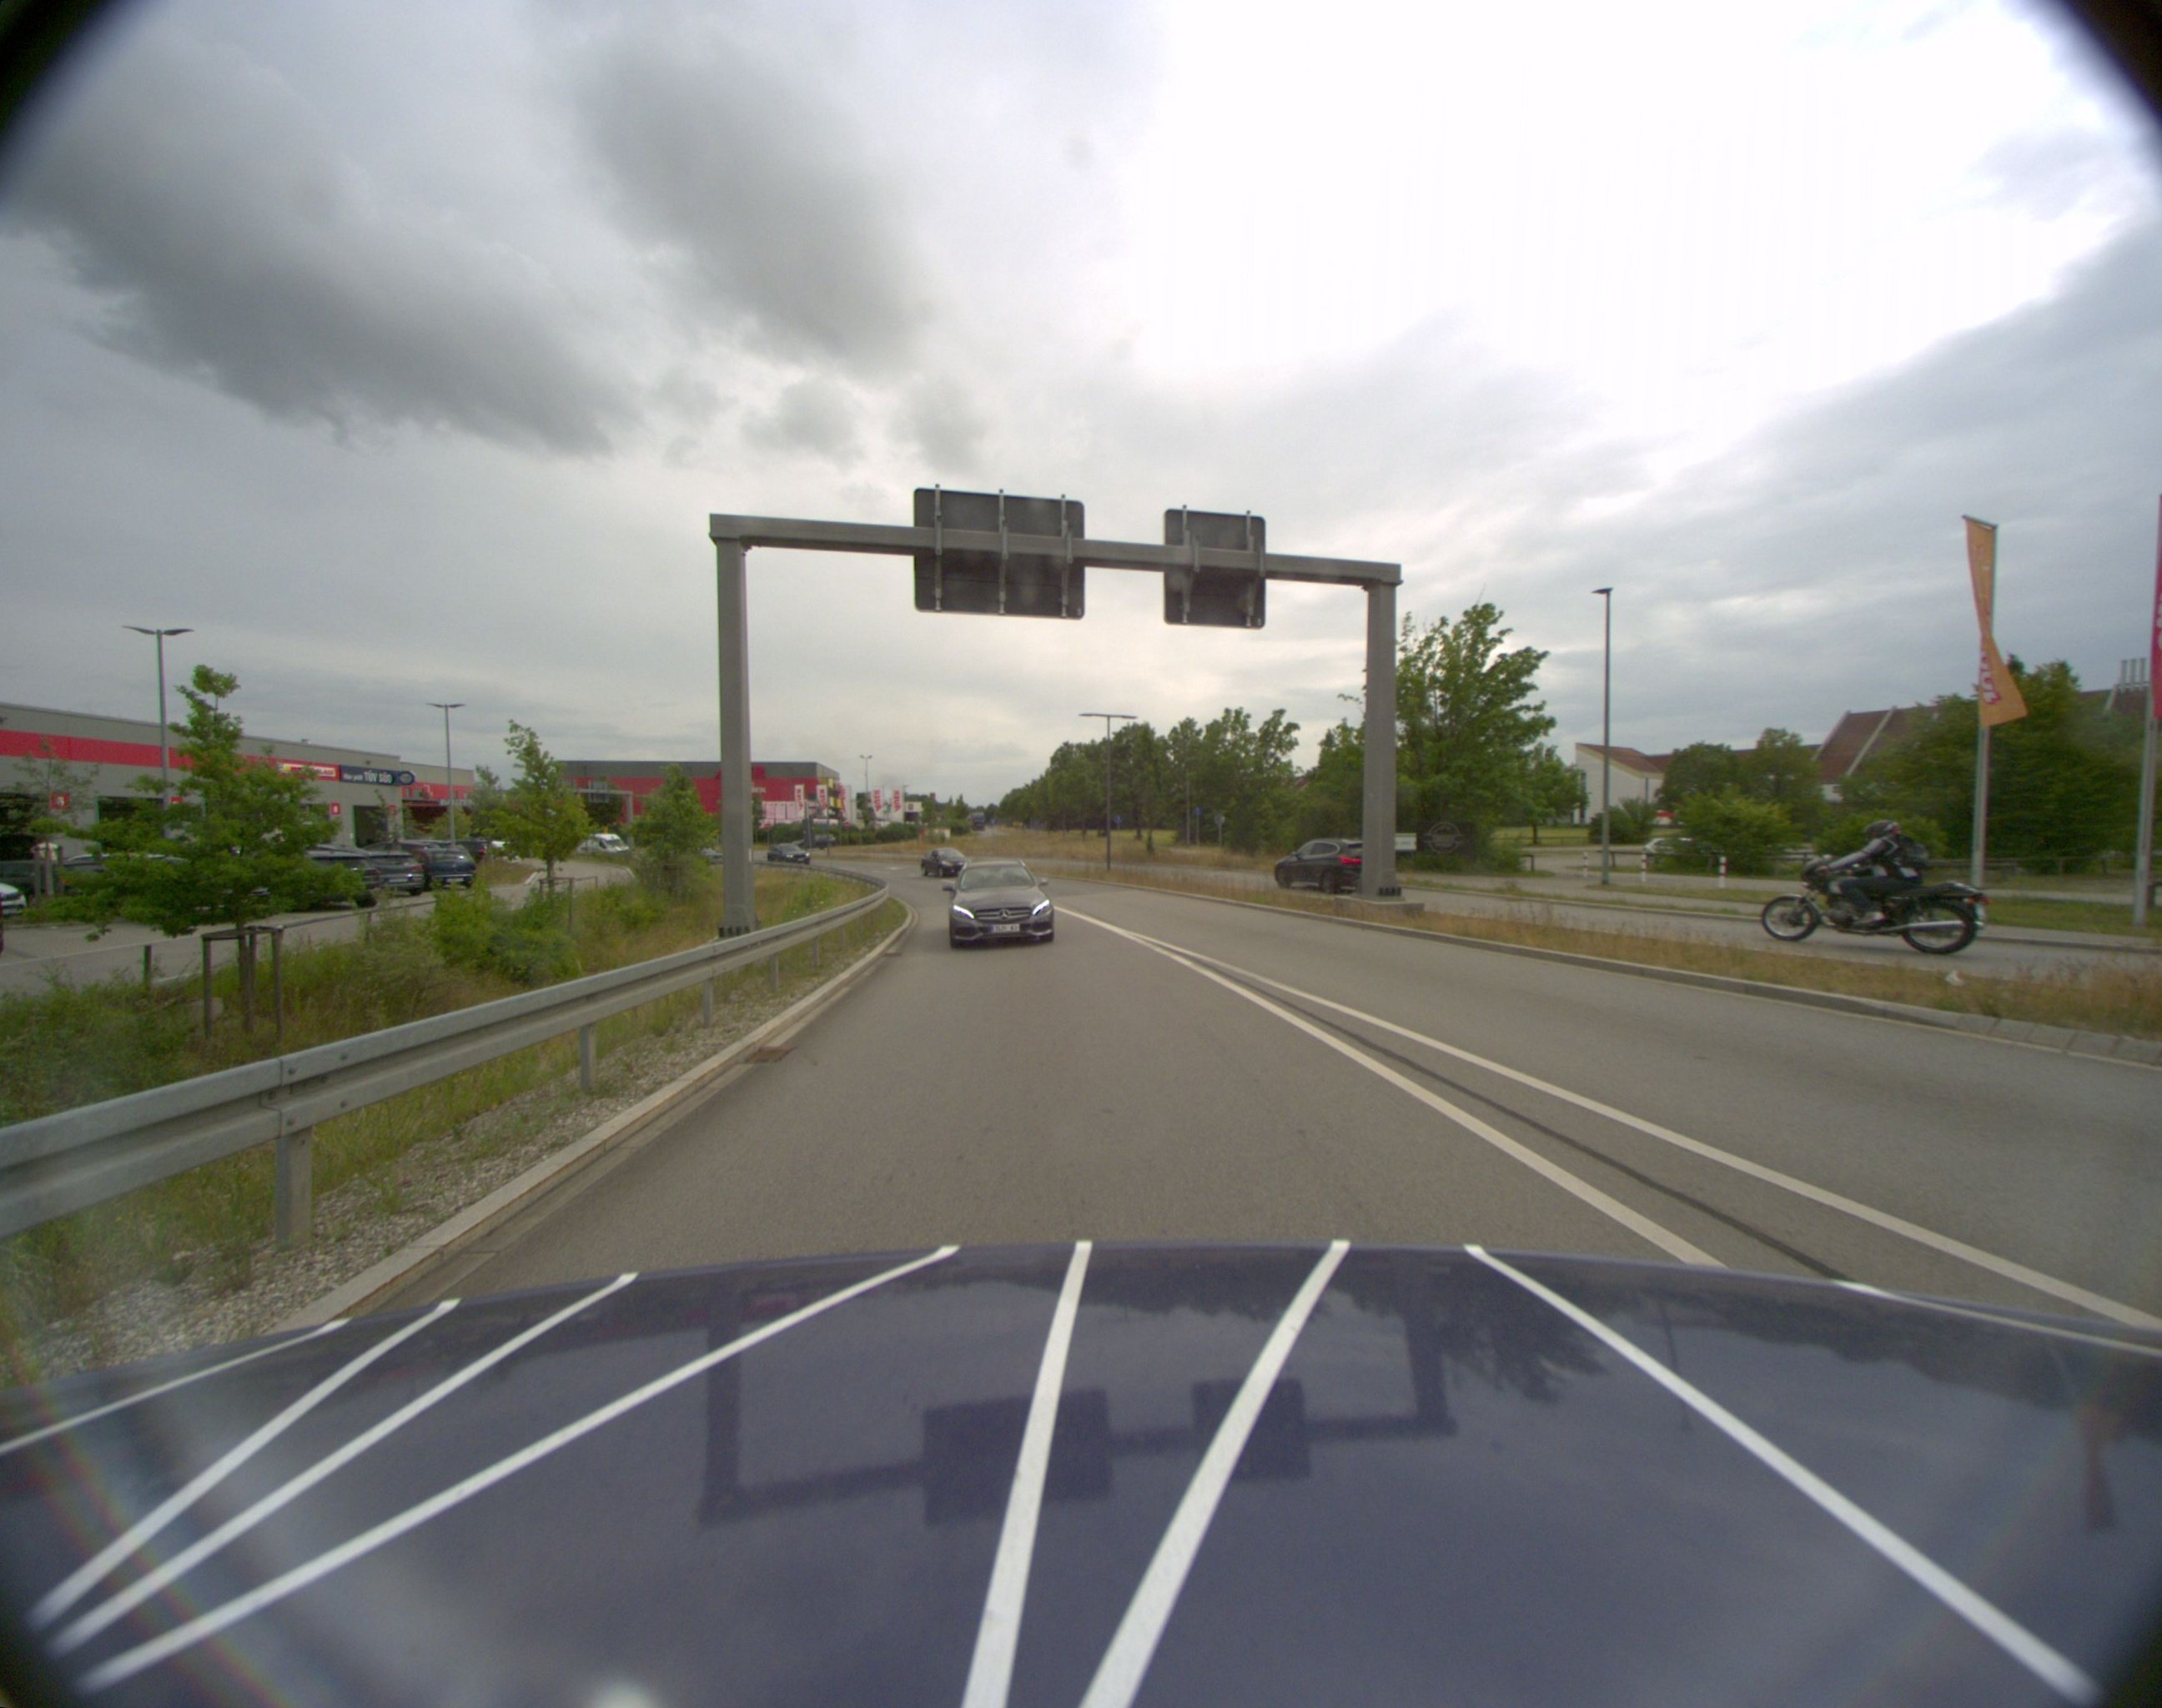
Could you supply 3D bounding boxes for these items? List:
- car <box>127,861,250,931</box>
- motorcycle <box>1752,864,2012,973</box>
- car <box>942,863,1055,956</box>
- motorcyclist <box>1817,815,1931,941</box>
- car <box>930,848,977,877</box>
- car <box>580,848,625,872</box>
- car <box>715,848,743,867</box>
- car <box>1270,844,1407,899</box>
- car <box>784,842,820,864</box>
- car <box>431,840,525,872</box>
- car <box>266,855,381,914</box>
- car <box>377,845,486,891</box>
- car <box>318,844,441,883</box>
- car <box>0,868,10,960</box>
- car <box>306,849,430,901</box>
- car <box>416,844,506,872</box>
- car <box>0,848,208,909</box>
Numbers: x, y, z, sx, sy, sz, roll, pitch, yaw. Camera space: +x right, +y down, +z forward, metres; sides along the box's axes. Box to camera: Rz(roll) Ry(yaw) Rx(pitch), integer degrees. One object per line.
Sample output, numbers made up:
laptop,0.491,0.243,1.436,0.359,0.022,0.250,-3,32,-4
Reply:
car,-23.281,1.038,19.781,4.066,1.613,1.653,-1,1,35
motorcycle,10.333,0.760,9.947,0.704,1.222,2.245,-1,0,-23
car,-1.649,0.947,14.544,1.765,1.411,4.088,-4,-1,-8
motorcyclist,10.328,0.291,9.910,0.675,1.567,0.845,-1,1,-23
car,-6.937,0.408,41.078,1.767,1.311,3.951,-4,3,-20
car,-33.672,0.407,53.449,3.689,1.536,1.593,0,4,41
car,-30.234,0.290,65.160,1.863,1.404,3.929,-3,3,-28
car,7.555,0.452,22.786,1.894,1.458,4.275,0,1,-14
car,-21.319,-0.109,58.255,1.861,1.404,4.550,-2,3,-12
car,-33.948,0.078,42.860,3.701,1.536,1.588,-3,3,-15
car,-22.906,0.901,22.946,4.066,1.613,1.740,-1,0,35
car,-25.409,0.495,29.734,4.066,1.613,1.739,2,2,26
car,-31.947,0.398,34.711,3.701,1.536,1.588,-3,3,-15
car,-22.472,1.118,14.395,4.066,1.702,1.909,1,3,27
car,-25.101,0.689,26.747,4.066,1.613,1.832,2,2,26
car,-32.933,0.180,40.427,3.324,1.316,1.478,-2,2,-15
car,-29.769,0.695,23.211,3.701,1.536,1.588,-3,3,-15
